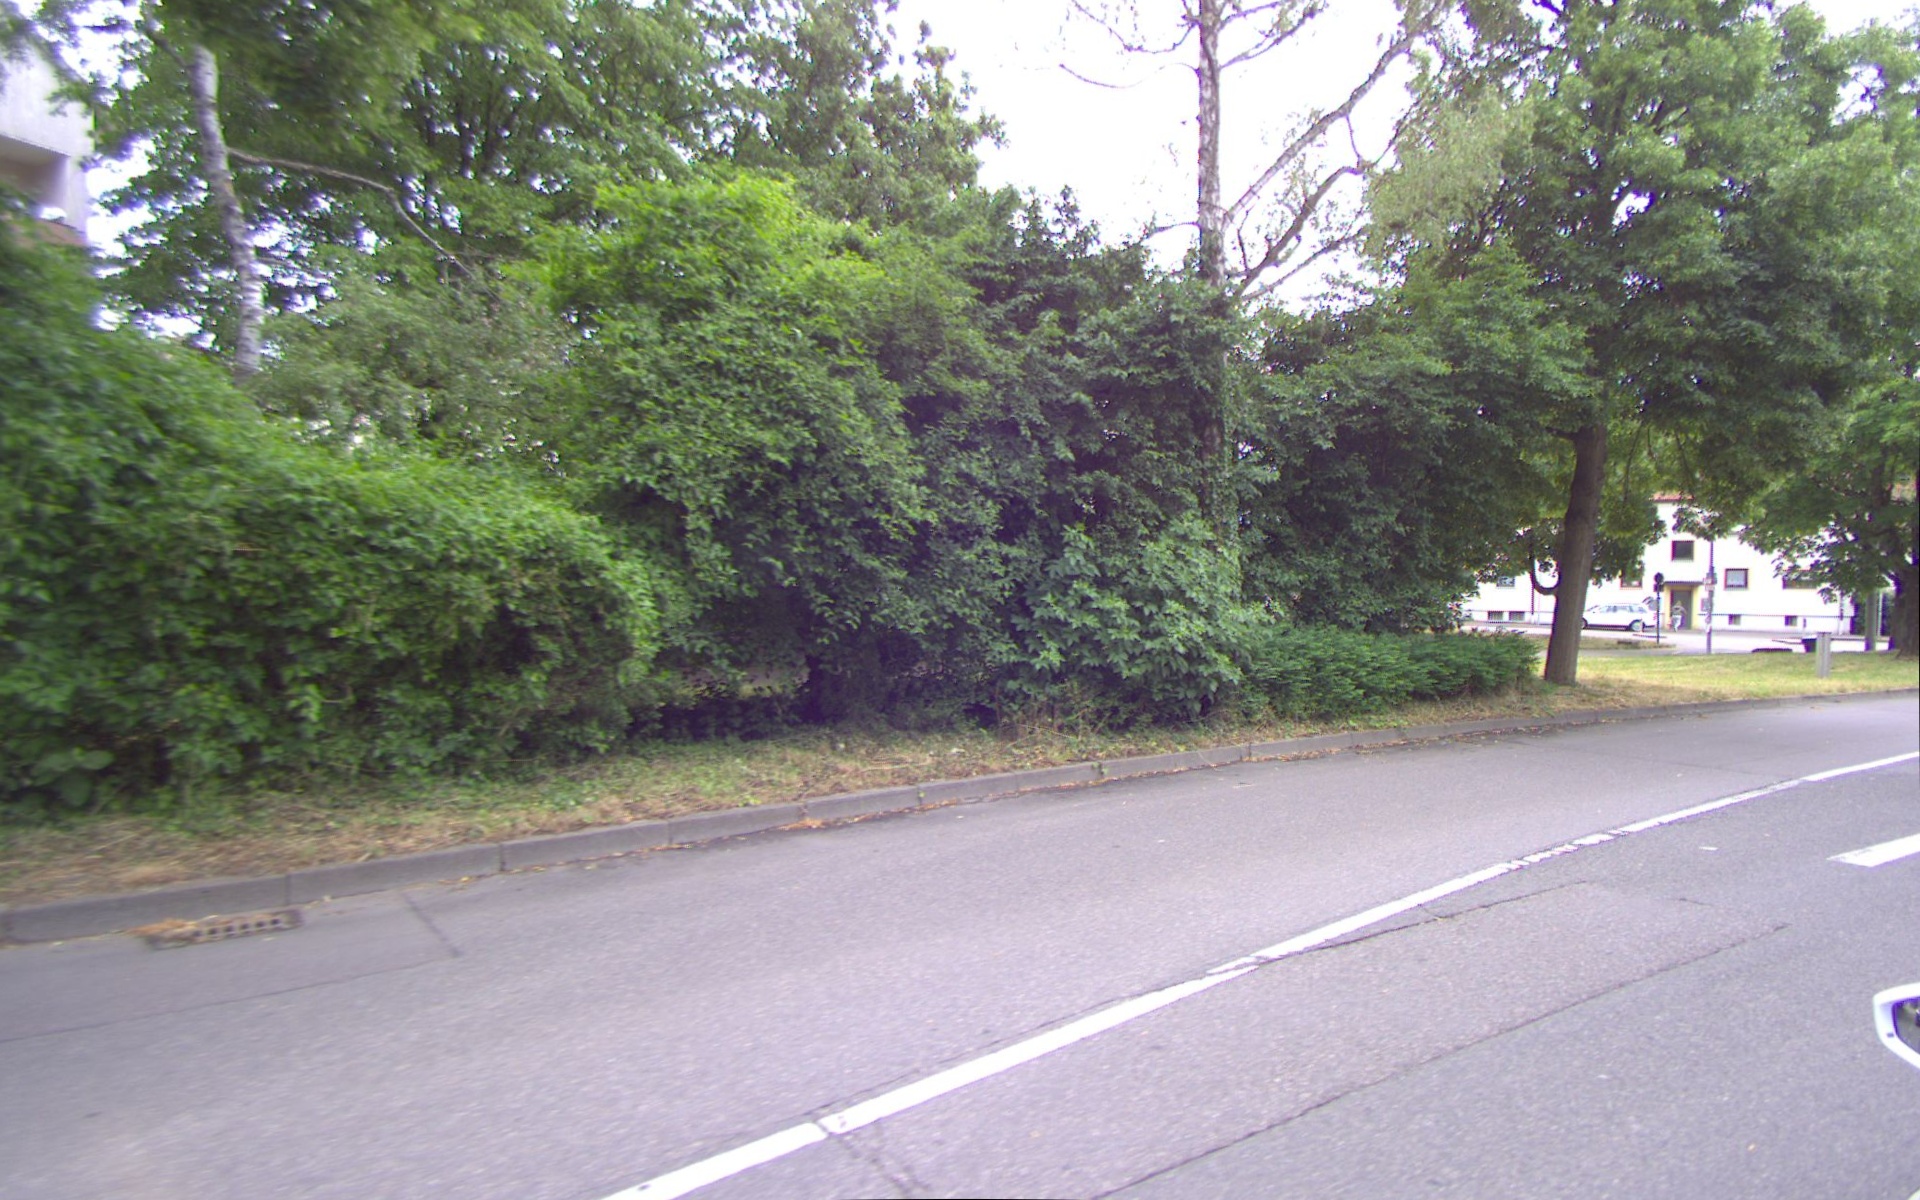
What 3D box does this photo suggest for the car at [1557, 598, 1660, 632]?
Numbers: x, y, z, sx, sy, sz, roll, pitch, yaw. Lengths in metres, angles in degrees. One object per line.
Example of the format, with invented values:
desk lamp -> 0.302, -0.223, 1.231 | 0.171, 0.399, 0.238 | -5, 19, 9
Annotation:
car -> 34.264, 0.755, 53.167 | 4.232, 1.459, 1.721 | 3, 4, 21

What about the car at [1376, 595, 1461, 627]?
car -> 25.247, 0.590, 55.506 | 4.152, 1.554, 1.683 | 3, 0, 23

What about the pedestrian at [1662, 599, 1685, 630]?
pedestrian -> 37.787, 0.743, 53.184 | 0.735, 1.555, 0.716 | 3, 4, 21
